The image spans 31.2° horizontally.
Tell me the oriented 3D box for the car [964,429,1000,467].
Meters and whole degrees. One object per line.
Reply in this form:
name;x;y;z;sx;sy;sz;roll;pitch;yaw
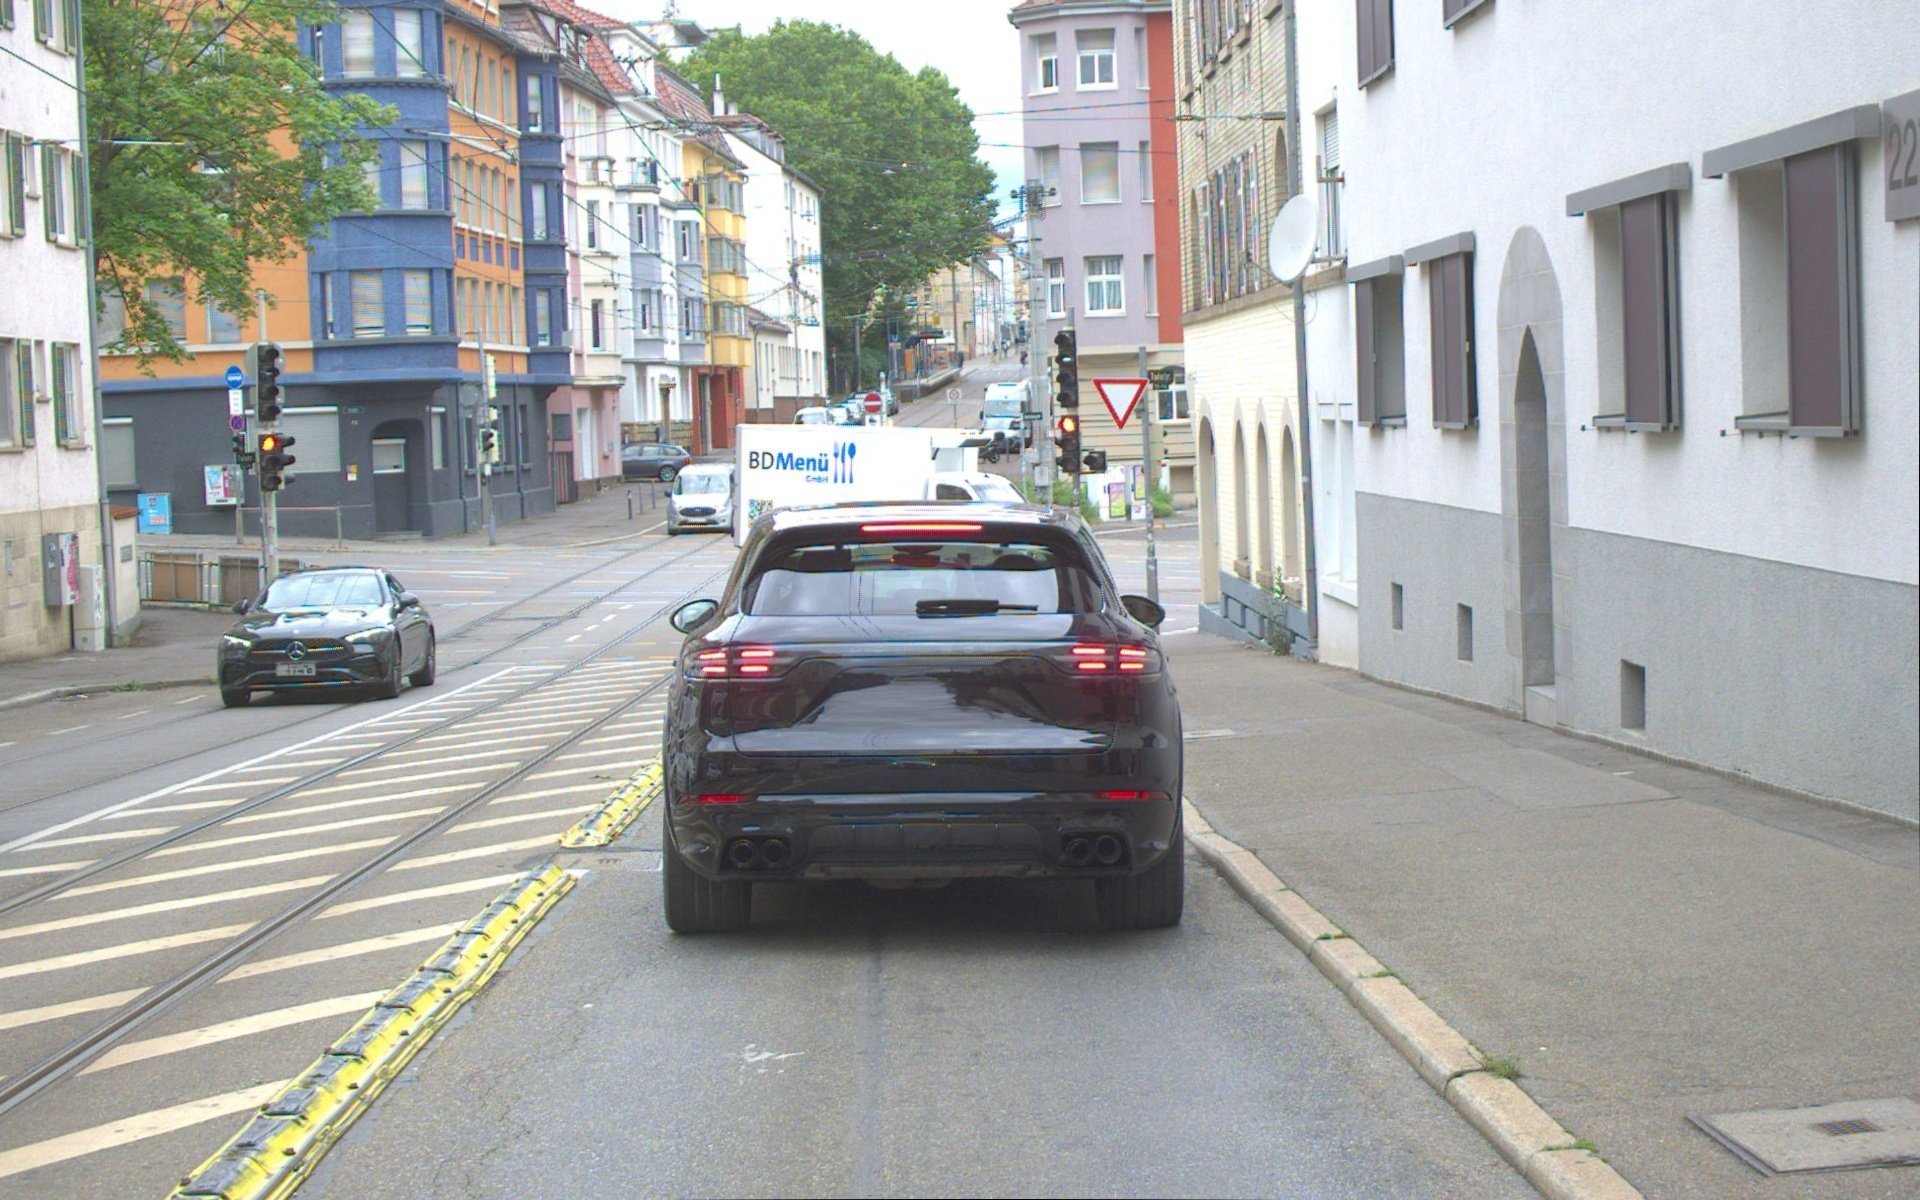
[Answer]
car;0.908;-6.264;142.028;1.394;1.445;3.359;-2;1;0

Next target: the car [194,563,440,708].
car;-6.980;0.341;37.748;1.921;1.419;4.498;-2;1;-2

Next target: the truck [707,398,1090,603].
truck;-1.117;-1.741;61.400;6.389;3.359;2.344;-2;1;27

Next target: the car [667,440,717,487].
car;-9.070;-4.610;116.395;1.394;1.445;3.359;-2;1;0

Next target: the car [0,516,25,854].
car;-6.143;0.510;16.812;1.921;1.812;4.217;-2;1;0

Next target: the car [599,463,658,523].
car;-9.975;-3.208;103.539;1.394;1.716;3.359;-2;1;0

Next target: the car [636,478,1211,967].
car;-0.175;0.407;14.229;1.993;1.670;4.000;-2;1;-1

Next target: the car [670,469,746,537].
car;-6.902;-2.646;94.516;1.751;1.753;4.254;-2;1;0

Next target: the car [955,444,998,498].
car;0.552;-4.367;116.703;1.394;1.716;3.359;-2;1;0
